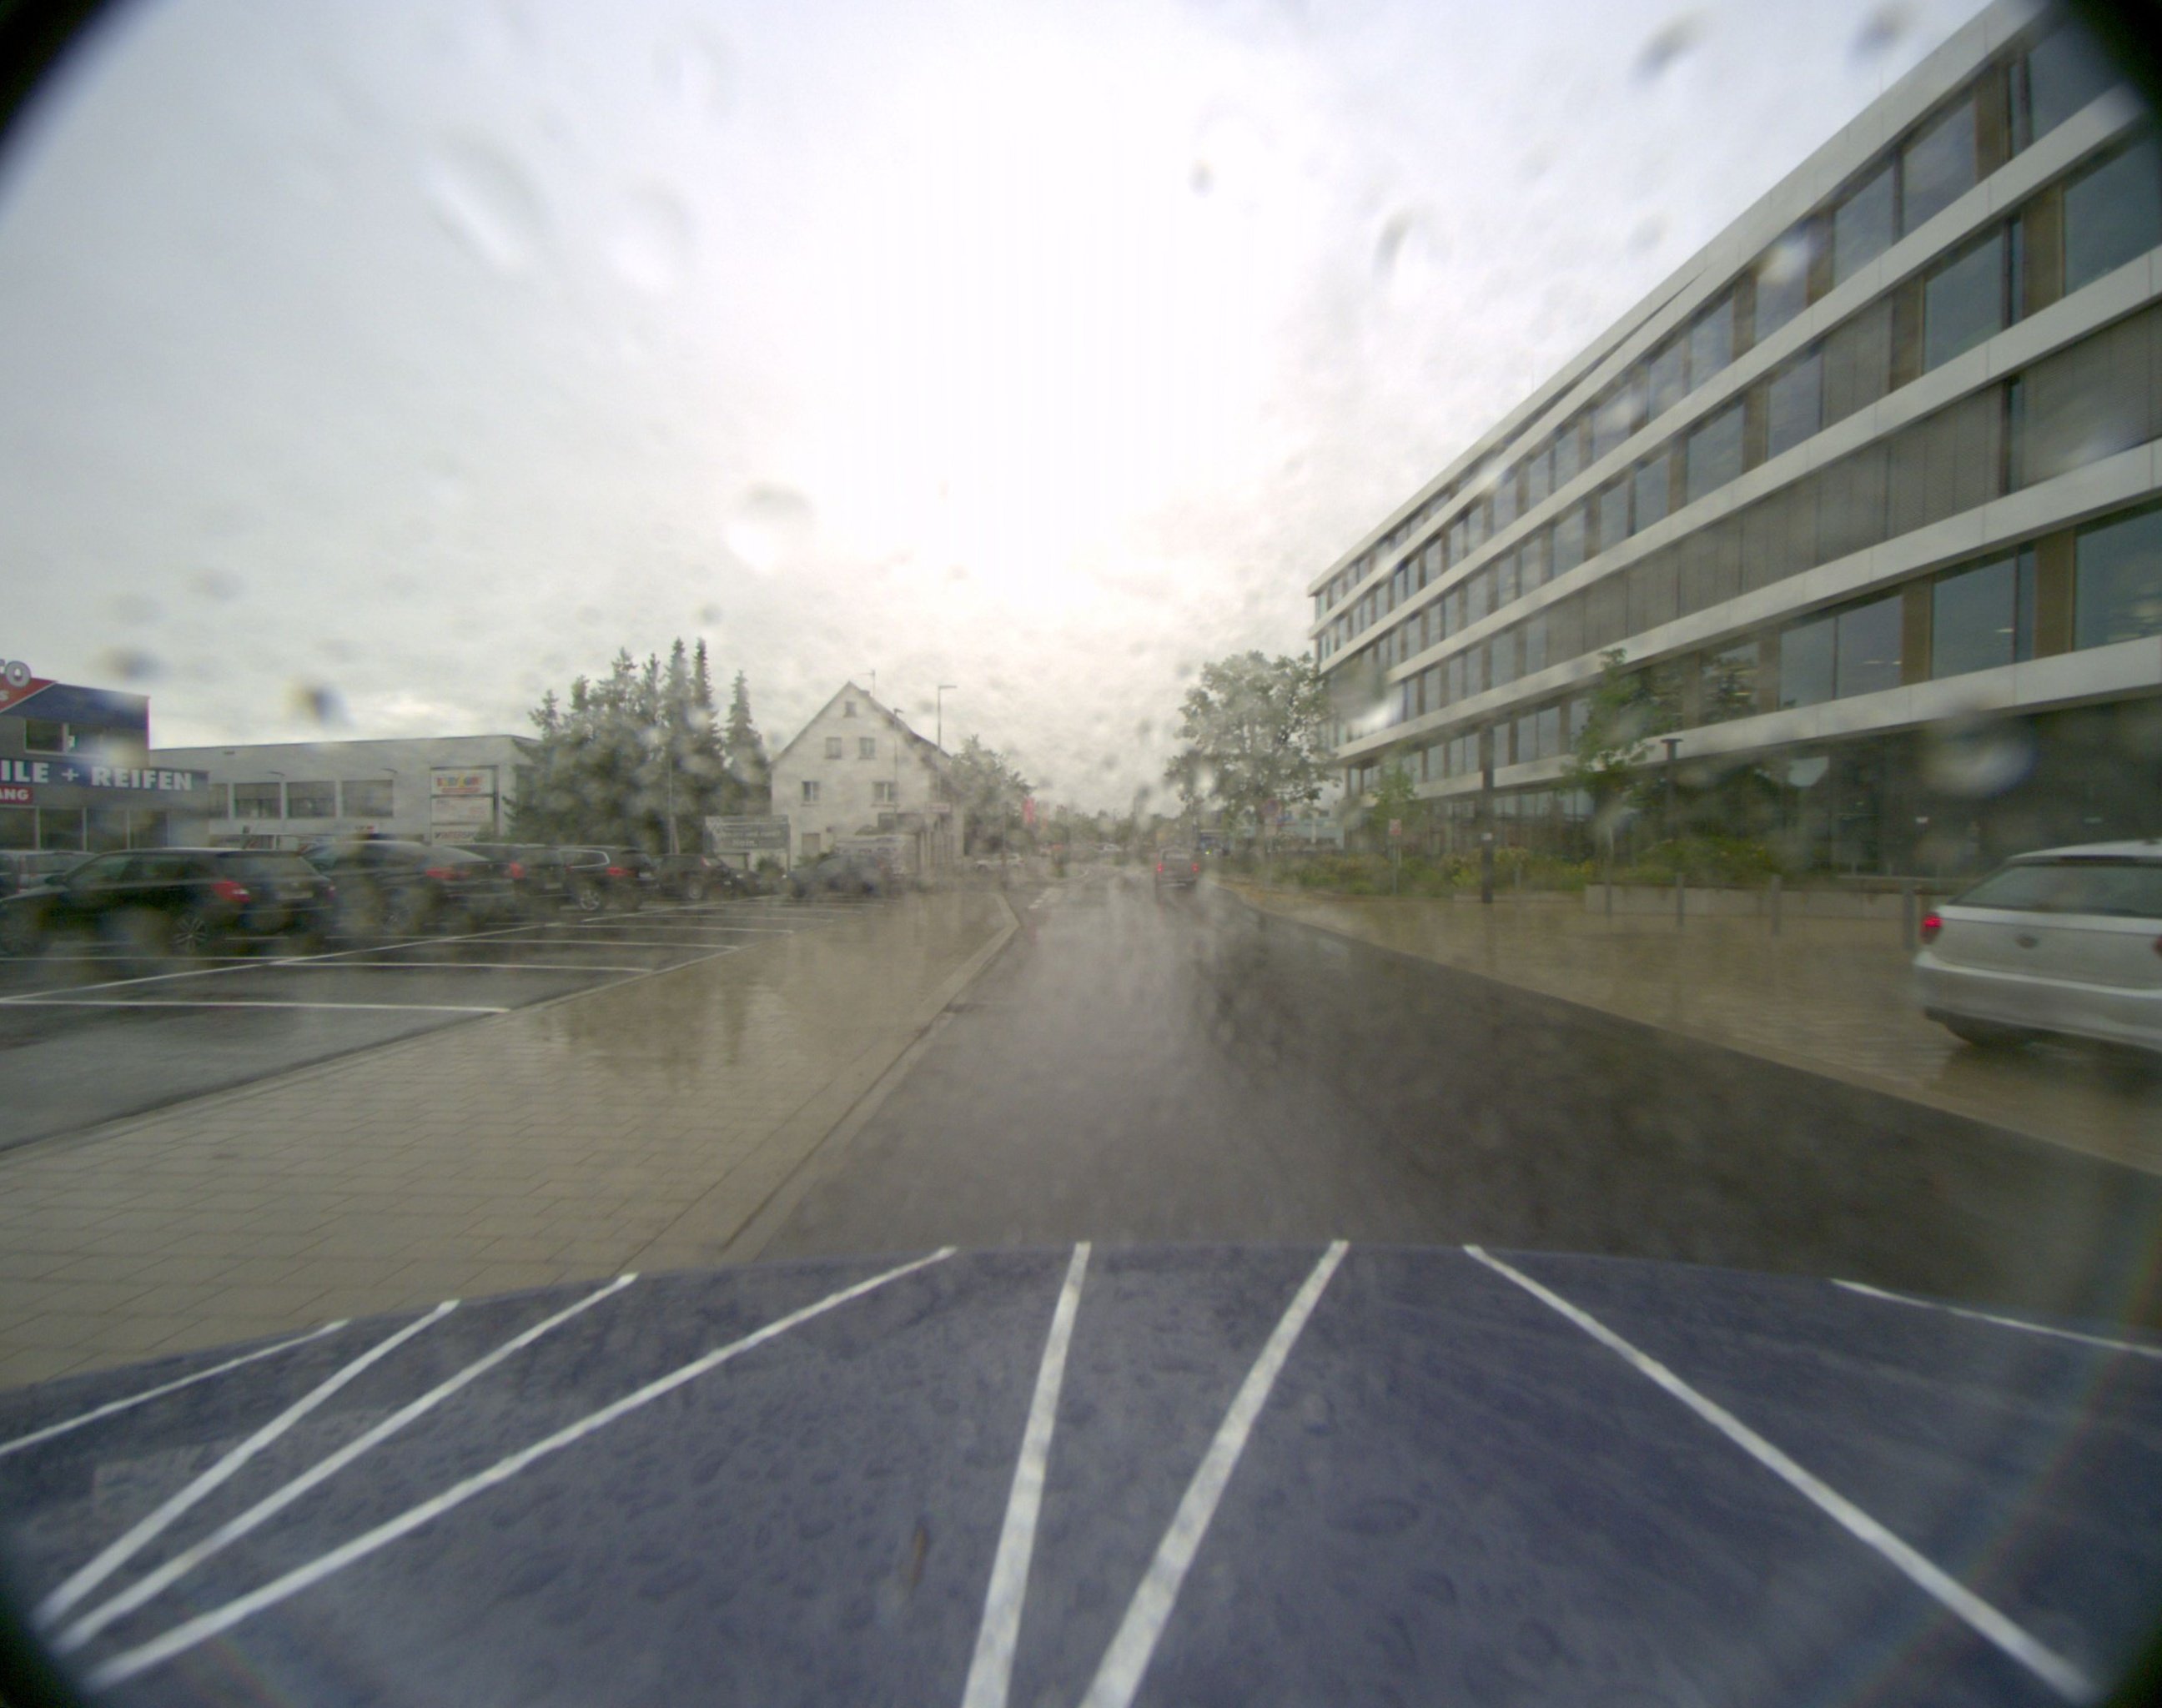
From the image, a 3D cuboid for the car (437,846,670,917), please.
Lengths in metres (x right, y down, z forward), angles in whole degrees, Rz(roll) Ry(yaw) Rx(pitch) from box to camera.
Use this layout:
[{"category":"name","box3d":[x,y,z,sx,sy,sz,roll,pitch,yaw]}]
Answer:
[{"category":"car","box3d":[-12.774,0.636,18.611,4.367,1.642,1.844,0,1,-2]}]

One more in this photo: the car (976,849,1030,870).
[{"category":"car","box3d":[-6.448,0.434,62.263,4.144,1.571,1.997,2,0,-14]}]

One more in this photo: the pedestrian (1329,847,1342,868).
[{"category":"pedestrian","box3d":[21.251,0.259,63.366,0.726,1.694,0.956,-4,2,4]}]

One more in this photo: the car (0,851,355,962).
[{"category":"car","box3d":[-13.262,0.714,11.123,3.696,1.491,1.642,0,1,1]}]

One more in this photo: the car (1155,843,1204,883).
[{"category":"car","box3d":[4.762,0.408,37.410,2.007,1.807,4.980,0,0,3]}]

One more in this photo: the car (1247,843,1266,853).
[{"category":"car","box3d":[25.714,-0.919,111.229,1.883,1.288,4.006,-3,0,25]}]

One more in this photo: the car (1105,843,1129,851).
[{"category":"car","box3d":[6.649,-1.224,140.080,3.990,1.433,2.003,0,0,25]}]

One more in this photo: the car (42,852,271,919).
[{"category":"car","box3d":[-24.079,0.773,19.863,4.362,1.574,1.866,1,1,9]}]

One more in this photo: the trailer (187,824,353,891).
[{"category":"trailer","box3d":[-38.728,0.154,36.358,5.878,2.720,2.938,-3,2,17]}]

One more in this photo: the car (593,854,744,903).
[{"category":"car","box3d":[-12.798,0.739,23.751,3.736,1.440,1.730,0,1,-3]}]

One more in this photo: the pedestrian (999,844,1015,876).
[{"category":"pedestrian","box3d":[-4.754,0.372,48.970,0.861,2.002,1.195,2,1,-1]}]

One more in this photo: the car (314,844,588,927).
[{"category":"car","box3d":[-13.255,0.619,16.184,4.365,1.649,1.786,0,1,1]}]

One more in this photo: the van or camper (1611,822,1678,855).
[{"category":"van or camper","box3d":[57.964,-1.556,78.265,5.090,3.070,2.003,-2,0,22]}]

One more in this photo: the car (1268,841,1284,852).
[{"category":"car","box3d":[28.436,-1.041,110.687,1.790,1.543,4.006,0,1,21]}]

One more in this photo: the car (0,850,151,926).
[{"category":"car","box3d":[-24.655,0.722,17.684,4.362,1.574,1.866,1,1,9]}]

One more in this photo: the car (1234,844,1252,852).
[{"category":"car","box3d":[26.644,-1.016,124.822,1.883,1.288,4.006,-3,0,25]}]

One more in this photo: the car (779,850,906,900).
[{"category":"car","box3d":[-7.988,0.684,25.623,3.735,1.520,1.650,1,2,0]}]

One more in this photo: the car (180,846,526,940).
[{"category":"car","box3d":[-12.853,0.654,13.648,4.366,1.550,1.839,0,1,-1]}]

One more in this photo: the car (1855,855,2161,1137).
[{"category":"car","box3d":[7.472,0.717,4.432,3.937,1.415,1.898,0,0,1]}]

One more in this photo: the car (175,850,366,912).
[{"category":"car","box3d":[-23.930,0.755,22.504,4.134,1.657,1.866,1,1,9]}]

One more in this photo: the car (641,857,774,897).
[{"category":"car","box3d":[-12.786,0.770,26.184,3.736,1.308,1.692,0,1,-3]}]

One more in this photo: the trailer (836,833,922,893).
[{"category":"trailer","box3d":[-7.428,0.325,28.065,2.708,2.159,1.548,0,1,2]}]

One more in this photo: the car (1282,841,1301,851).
[{"category":"car","box3d":[30.400,-1.171,109.566,1.883,1.288,4.006,-3,0,25]}]

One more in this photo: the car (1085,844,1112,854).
[{"category":"car","box3d":[3.005,-0.809,130.652,4.095,1.696,2.004,0,0,28]}]
